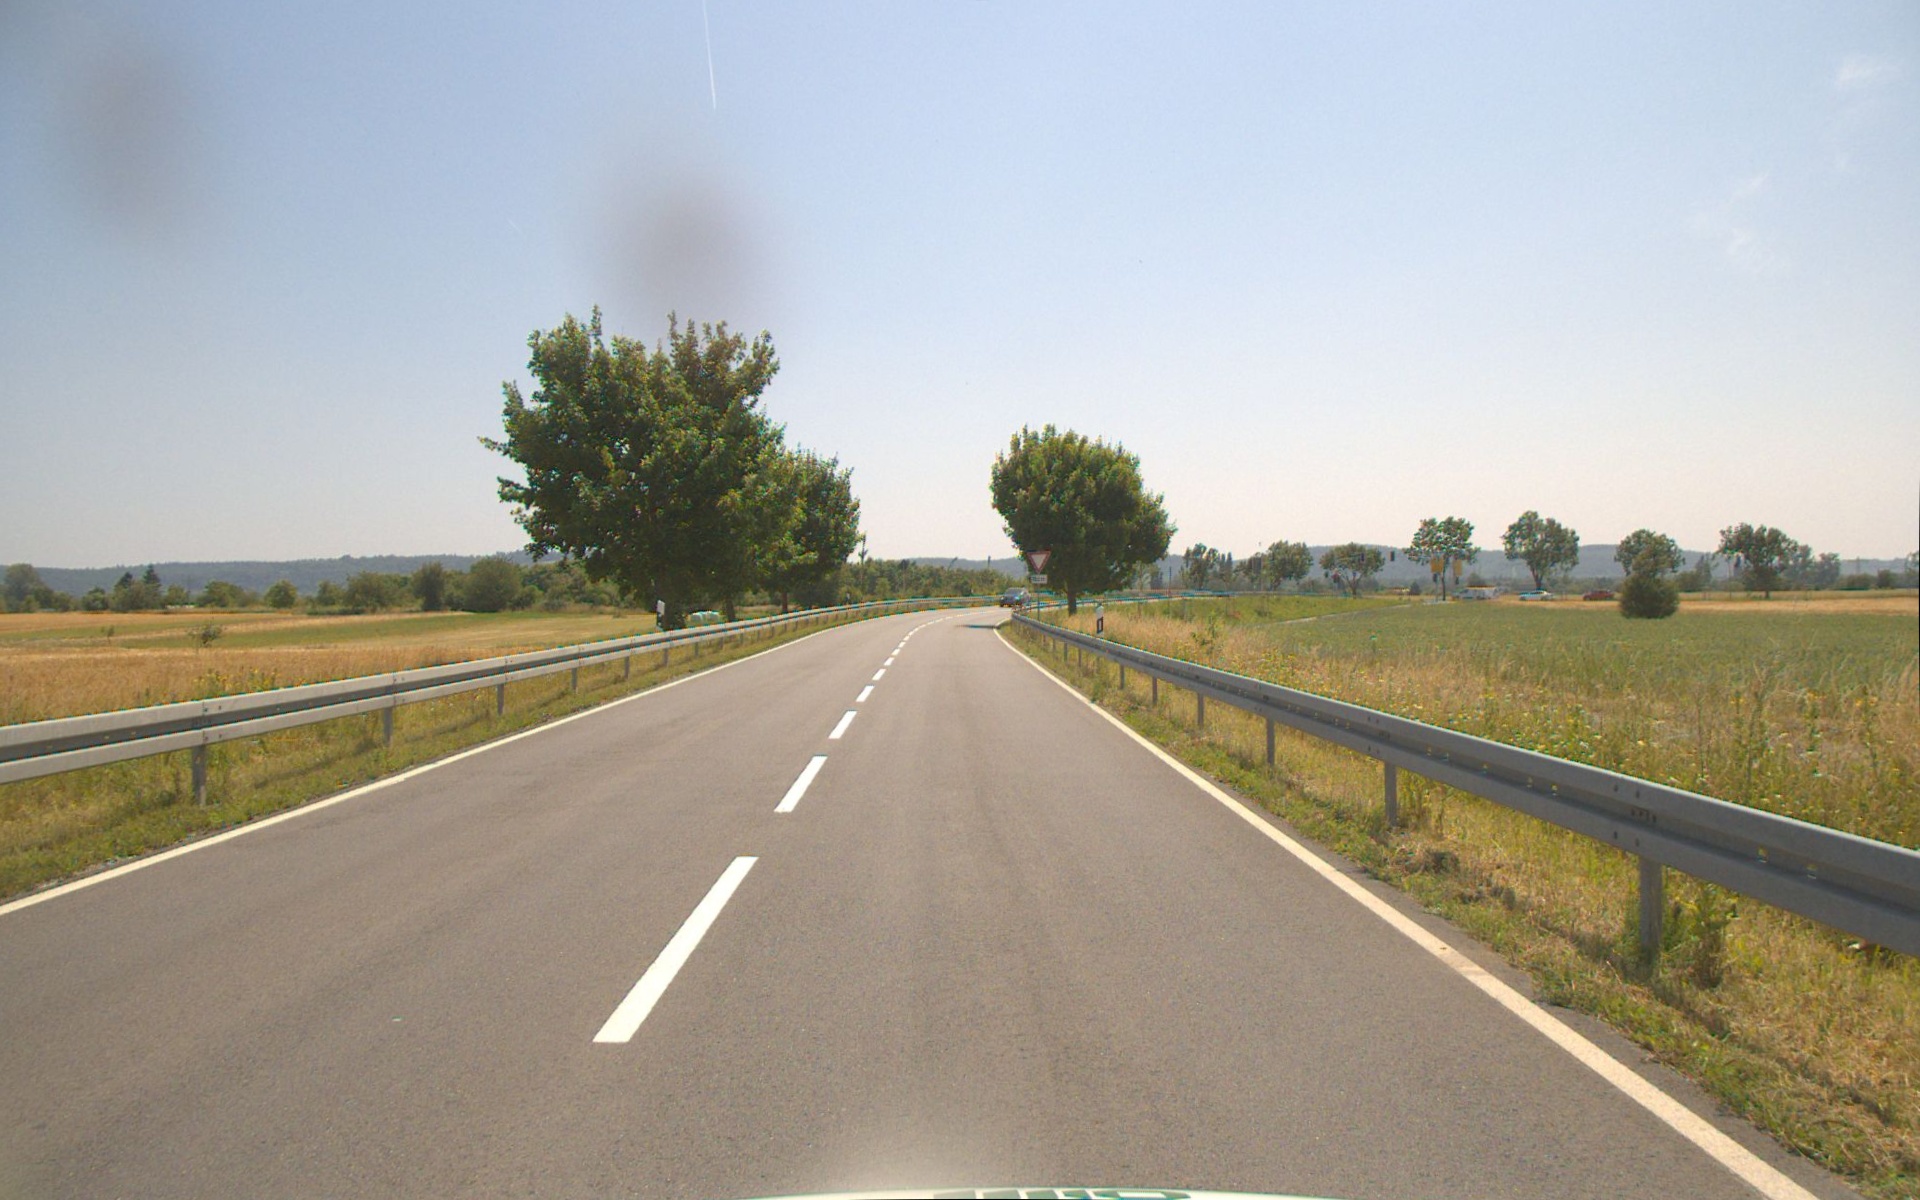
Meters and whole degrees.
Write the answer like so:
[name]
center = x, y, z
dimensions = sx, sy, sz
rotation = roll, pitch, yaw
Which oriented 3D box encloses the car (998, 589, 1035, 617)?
[car]
center = 4.371, 0.263, 127.460
dimensions = 1.951, 2.049, 4.002
rotation = 1, -1, 16
